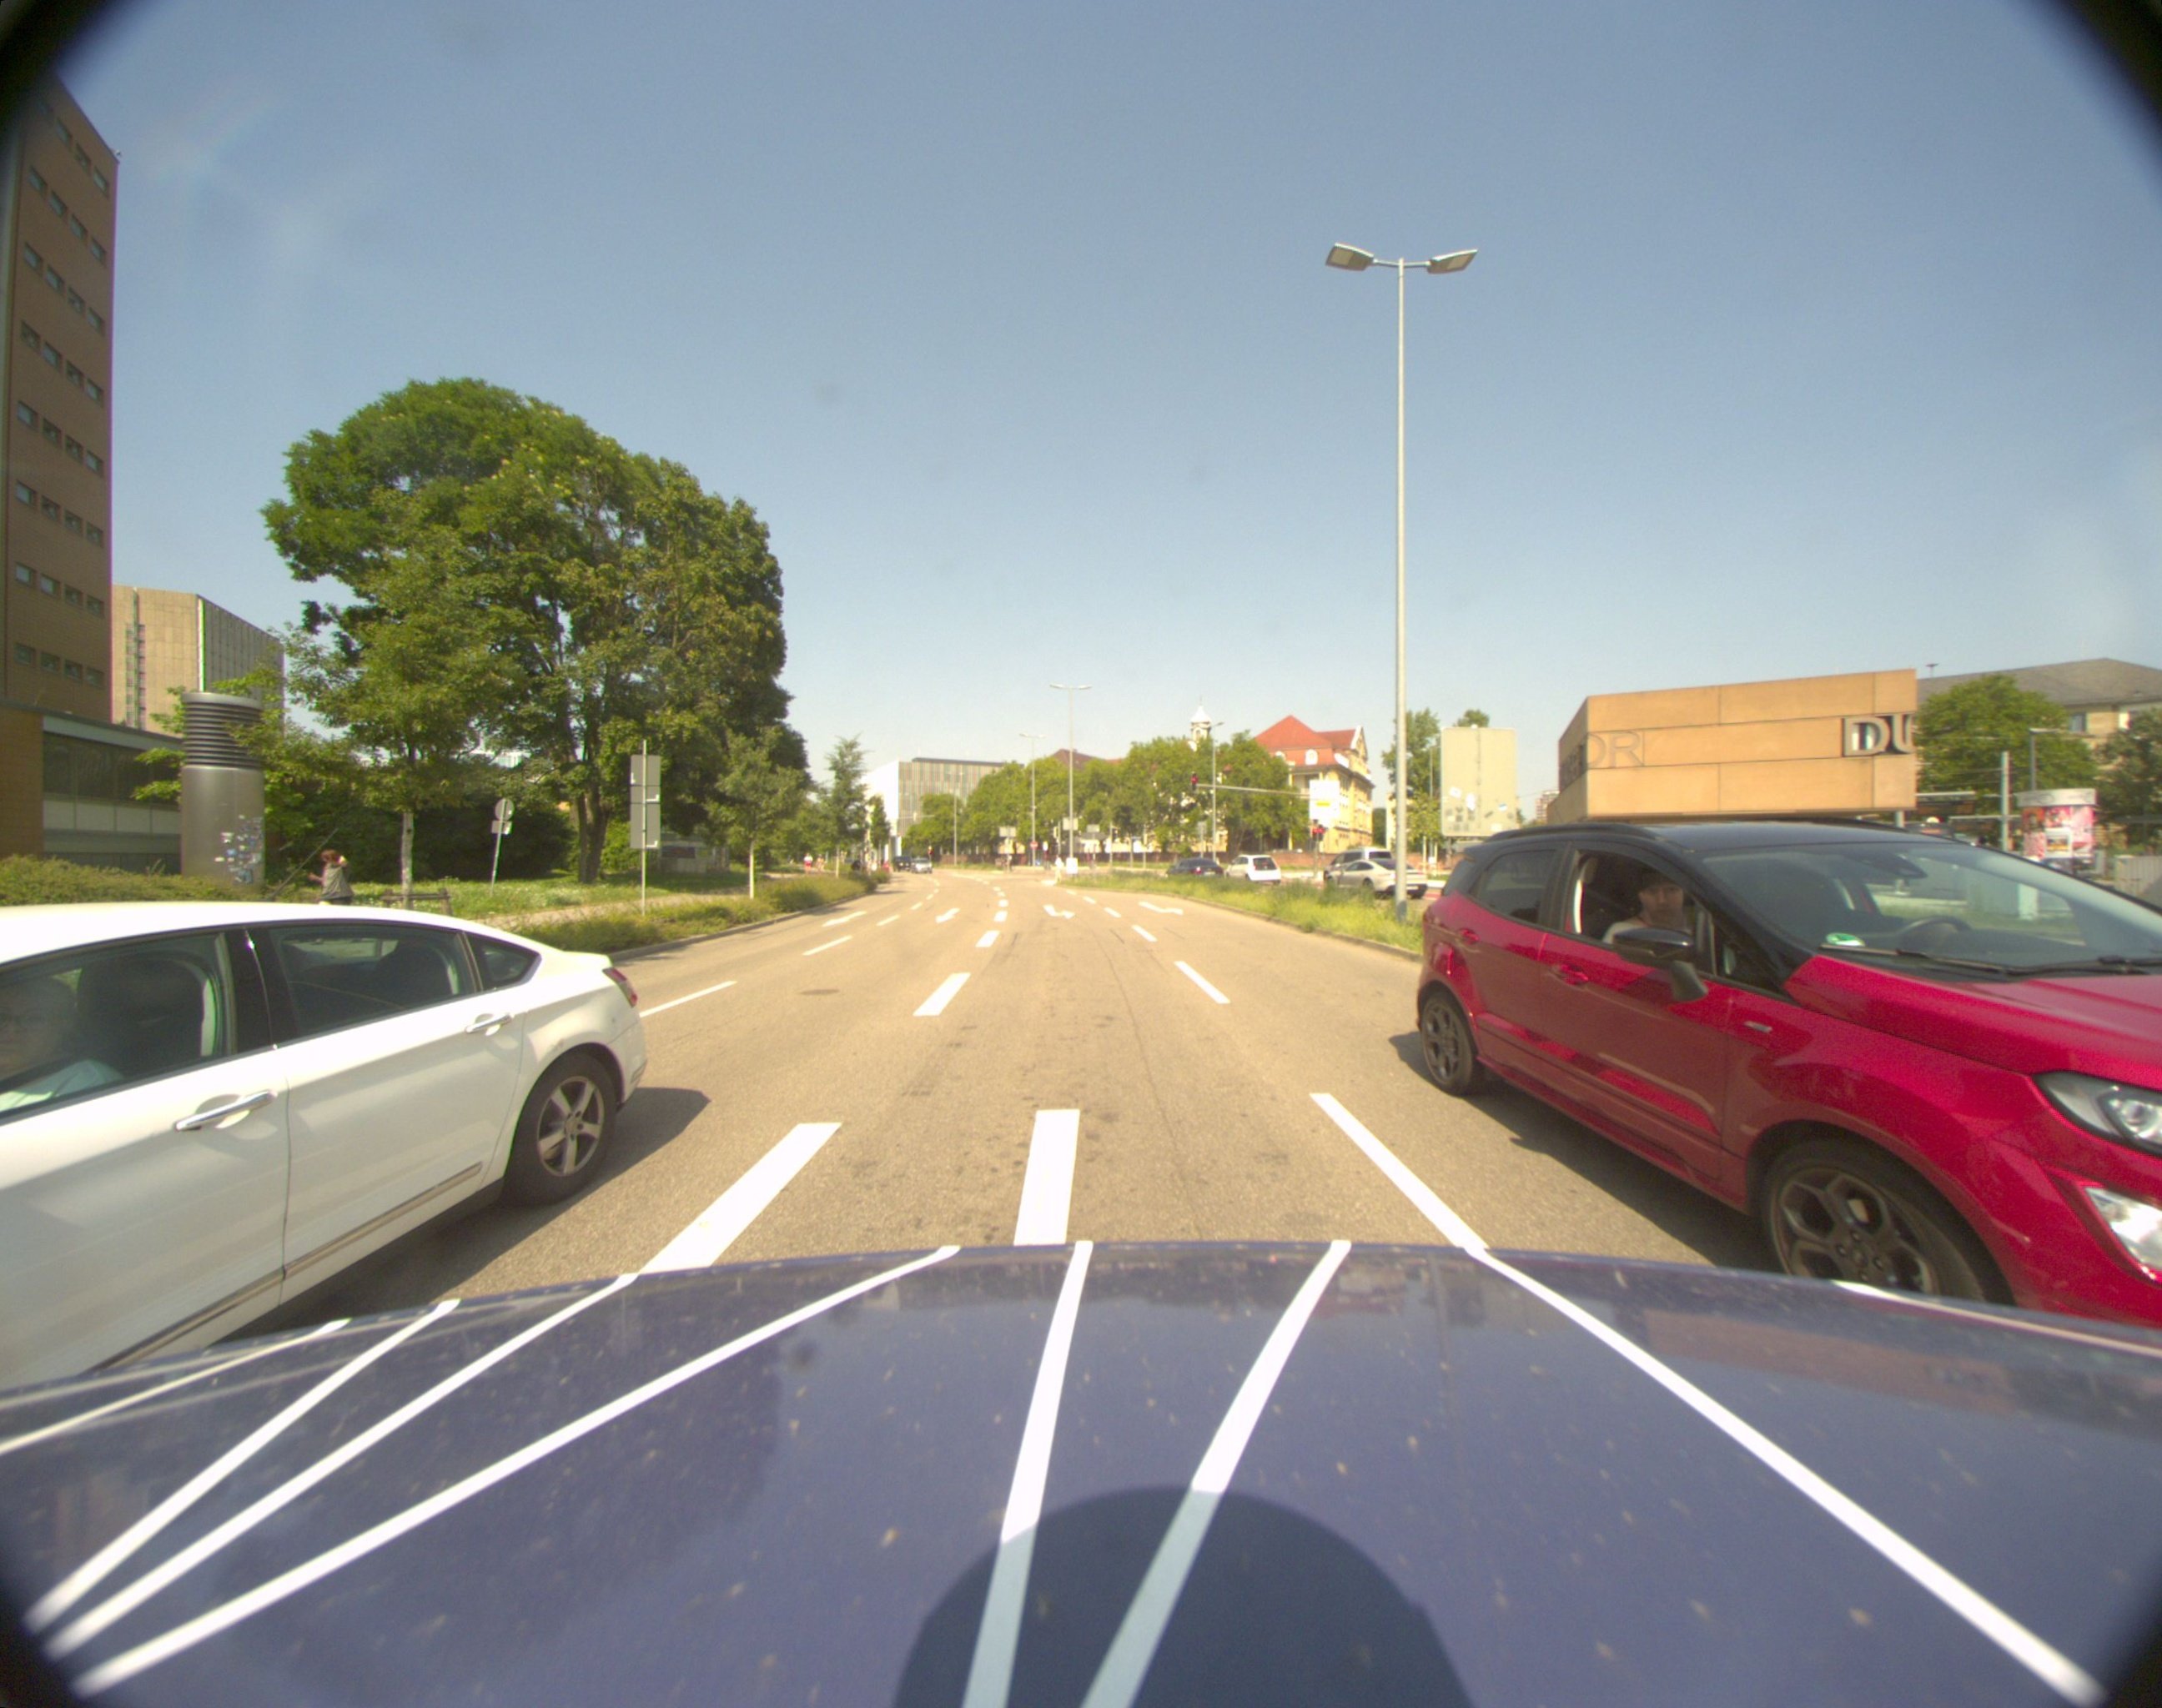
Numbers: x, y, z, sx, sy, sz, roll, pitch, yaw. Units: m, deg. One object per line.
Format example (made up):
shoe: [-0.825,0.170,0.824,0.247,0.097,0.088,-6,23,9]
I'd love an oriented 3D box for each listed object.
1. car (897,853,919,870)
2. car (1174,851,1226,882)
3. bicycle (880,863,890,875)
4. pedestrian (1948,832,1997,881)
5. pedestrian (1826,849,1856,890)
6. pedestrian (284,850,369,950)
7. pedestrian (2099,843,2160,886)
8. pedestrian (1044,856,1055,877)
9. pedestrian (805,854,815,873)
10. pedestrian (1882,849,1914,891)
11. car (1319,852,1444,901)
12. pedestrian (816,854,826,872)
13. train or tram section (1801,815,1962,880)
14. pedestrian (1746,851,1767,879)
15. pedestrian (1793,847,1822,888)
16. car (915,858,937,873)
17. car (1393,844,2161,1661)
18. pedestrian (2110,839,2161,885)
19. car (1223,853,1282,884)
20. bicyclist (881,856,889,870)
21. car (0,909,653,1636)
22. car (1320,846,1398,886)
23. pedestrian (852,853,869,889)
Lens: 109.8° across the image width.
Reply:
car: [-20.397,0.873,89.556,1.893,1.908,4.526,-2,0,-20]
car: [5.727,0.556,36.866,1.526,1.417,3.474,0,0,-8]
bicycle: [-20.452,1.581,79.409,0.594,1.162,2.234,0,0,-4]
pedestrian: [27.534,0.081,23.475,0.771,1.488,0.606,0,1,-1]
pedestrian: [27.909,0.548,27.908,0.539,1.488,0.541,0,1,-1]
pedestrian: [-13.211,0.780,13.323,0.672,1.689,0.805,0,0,-3]
pedestrian: [42.546,0.417,30.852,1.076,1.686,1.066,0,1,28]
pedestrian: [-2.027,0.781,48.701,0.605,1.291,0.617,-2,1,-4]
pedestrian: [-19.289,0.668,54.117,0.635,1.291,0.486,-3,1,-18]
pedestrian: [28.847,0.561,26.834,0.539,1.488,0.541,0,1,-1]
car: [10.665,0.734,27.406,2.000,1.576,4.711,0,0,-10]
pedestrian: [-18.622,0.628,54.439,0.577,1.291,0.436,-3,1,-20]
train or tram section: [48.234,-0.382,46.432,2.698,3.418,13.446,0,0,28]
pedestrian: [26.992,0.423,30.369,0.538,1.093,0.543,0,1,32]
pedestrian: [26.824,0.485,28.045,0.539,1.488,0.541,0,1,-1]
car: [-16.307,1.217,79.797,1.661,1.521,4.526,-2,0,-20]
car: [2.955,0.781,3.143,1.694,1.577,3.844,-2,0,0]
pedestrian: [42.681,0.314,30.746,0.927,1.812,0.939,0,1,28]
car: [8.646,0.692,38.628,1.527,1.470,3.473,0,0,-14]
bicyclist: [-20.441,0.913,79.298,0.679,1.392,1.049,0,1,-4]
car: [-3.278,1.022,1.857,1.773,1.420,4.609,0,0,1]
car: [13.697,0.549,37.658,1.869,1.843,3.911,0,1,-12]
pedestrian: [-11.780,0.919,40.652,0.823,1.892,0.630,-1,1,-12]
